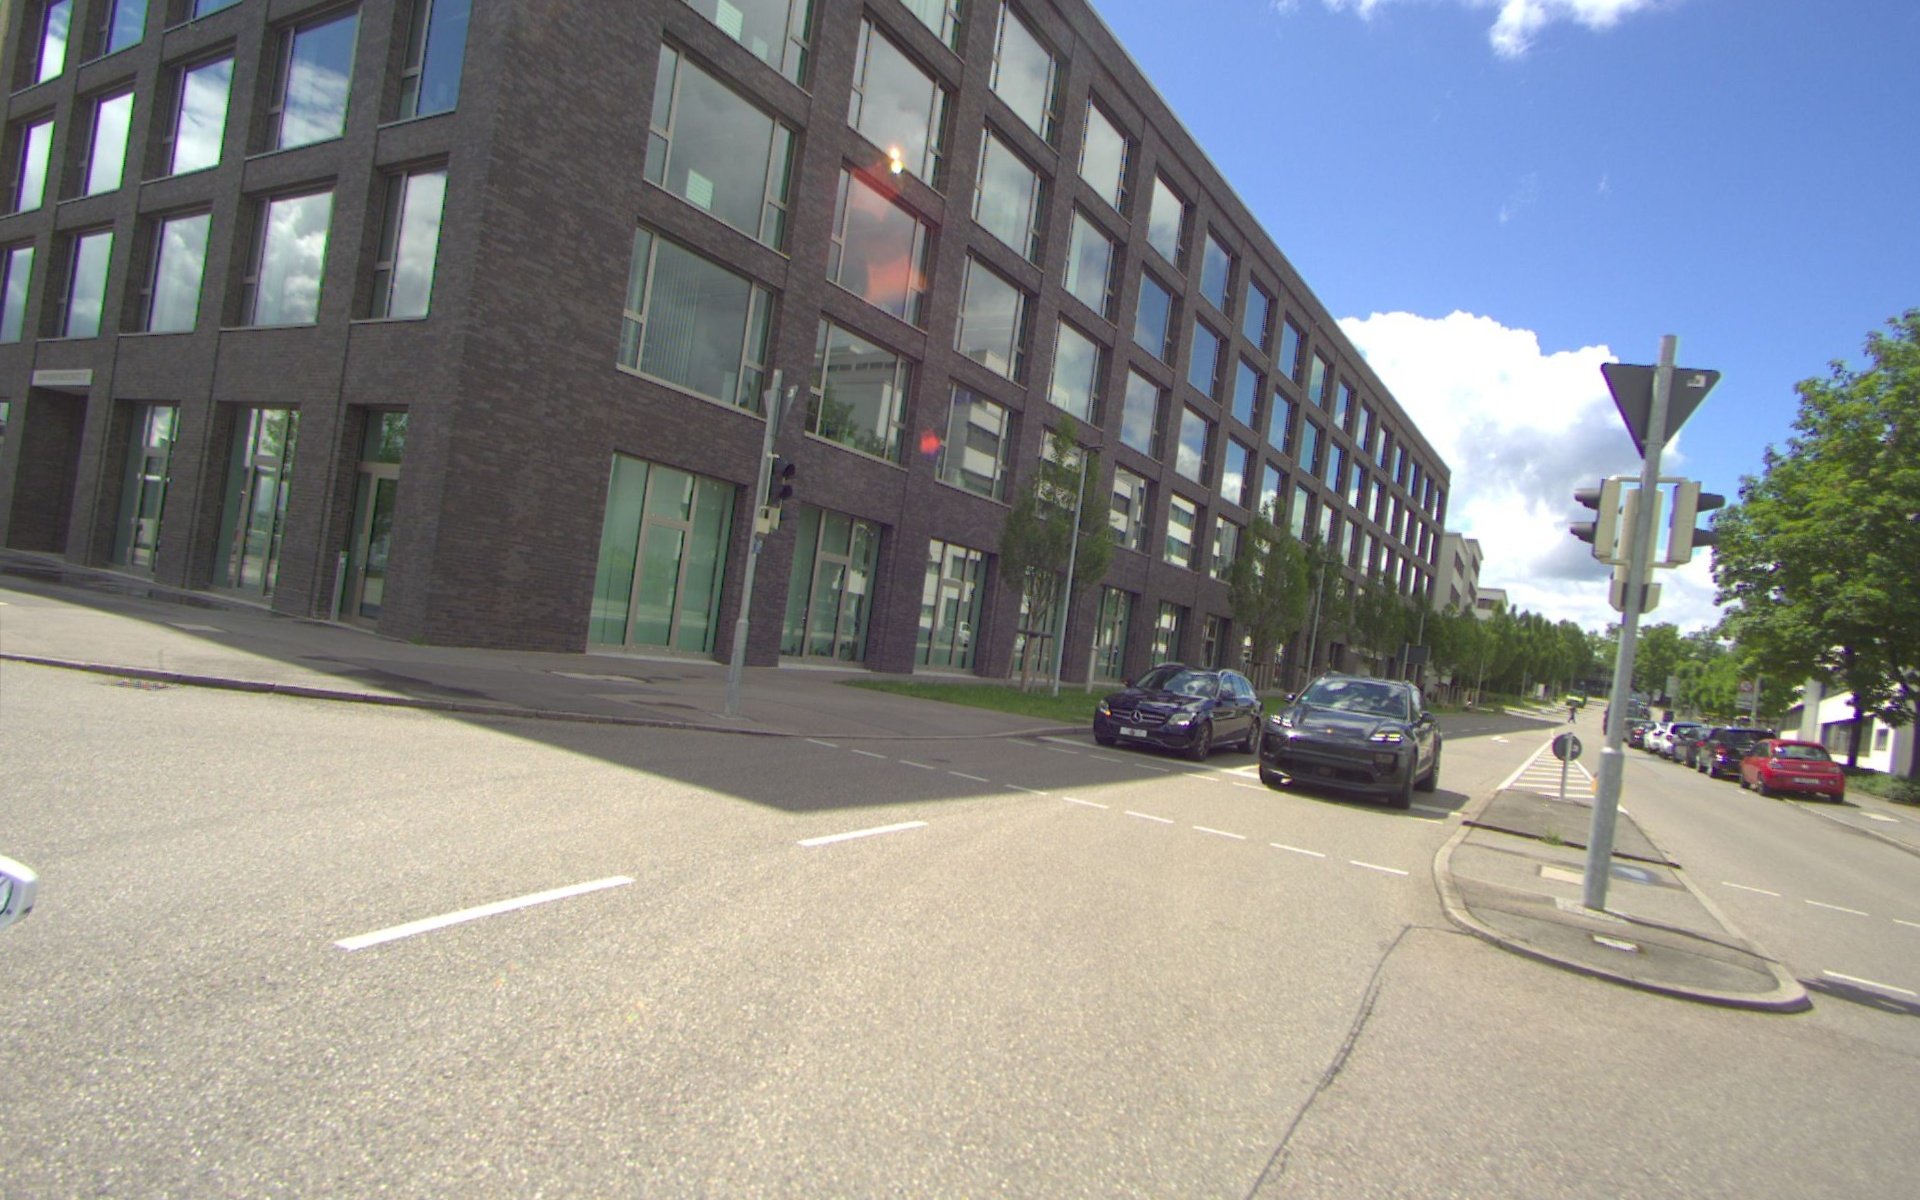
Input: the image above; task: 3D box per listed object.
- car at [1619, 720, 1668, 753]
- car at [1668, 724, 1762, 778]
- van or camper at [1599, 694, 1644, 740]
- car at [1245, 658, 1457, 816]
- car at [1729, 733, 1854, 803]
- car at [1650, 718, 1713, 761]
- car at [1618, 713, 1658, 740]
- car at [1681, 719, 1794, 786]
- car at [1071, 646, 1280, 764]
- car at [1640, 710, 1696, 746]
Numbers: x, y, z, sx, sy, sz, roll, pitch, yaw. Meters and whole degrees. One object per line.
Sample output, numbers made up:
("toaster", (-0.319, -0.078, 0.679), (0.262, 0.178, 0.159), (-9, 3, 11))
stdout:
("car", (34.217, 6.815, 50.433), (1.471, 1.354, 3.538), (7, -3, 28))
("car", (27.650, 5.478, 37.000), (1.838, 1.478, 4.311), (6, -2, 26))
("van or camper", (45.215, 7.980, 68.844), (1.966, 2.770, 5.118), (7, -1, 30))
("car", (5.810, 1.891, 14.550), (1.967, 1.637, 4.649), (7, -1, 31))
("car", (22.195, 4.439, 27.004), (1.716, 1.478, 3.679), (2, -4, 26))
("car", (30.424, 5.860, 42.506), (1.471, 1.478, 3.538), (7, -3, 28))
("car", (40.862, 7.617, 60.679), (1.471, 1.354, 3.538), (7, -3, 28))
("car", (24.592, 4.779, 32.000), (1.838, 1.588, 4.311), (7, -1, 26))
("car", (3.835, 1.781, 17.235), (1.967, 1.509, 4.532), (6, -2, 32))
("car", (32.324, 5.859, 46.032), (1.471, 1.354, 3.538), (7, -3, 28))
